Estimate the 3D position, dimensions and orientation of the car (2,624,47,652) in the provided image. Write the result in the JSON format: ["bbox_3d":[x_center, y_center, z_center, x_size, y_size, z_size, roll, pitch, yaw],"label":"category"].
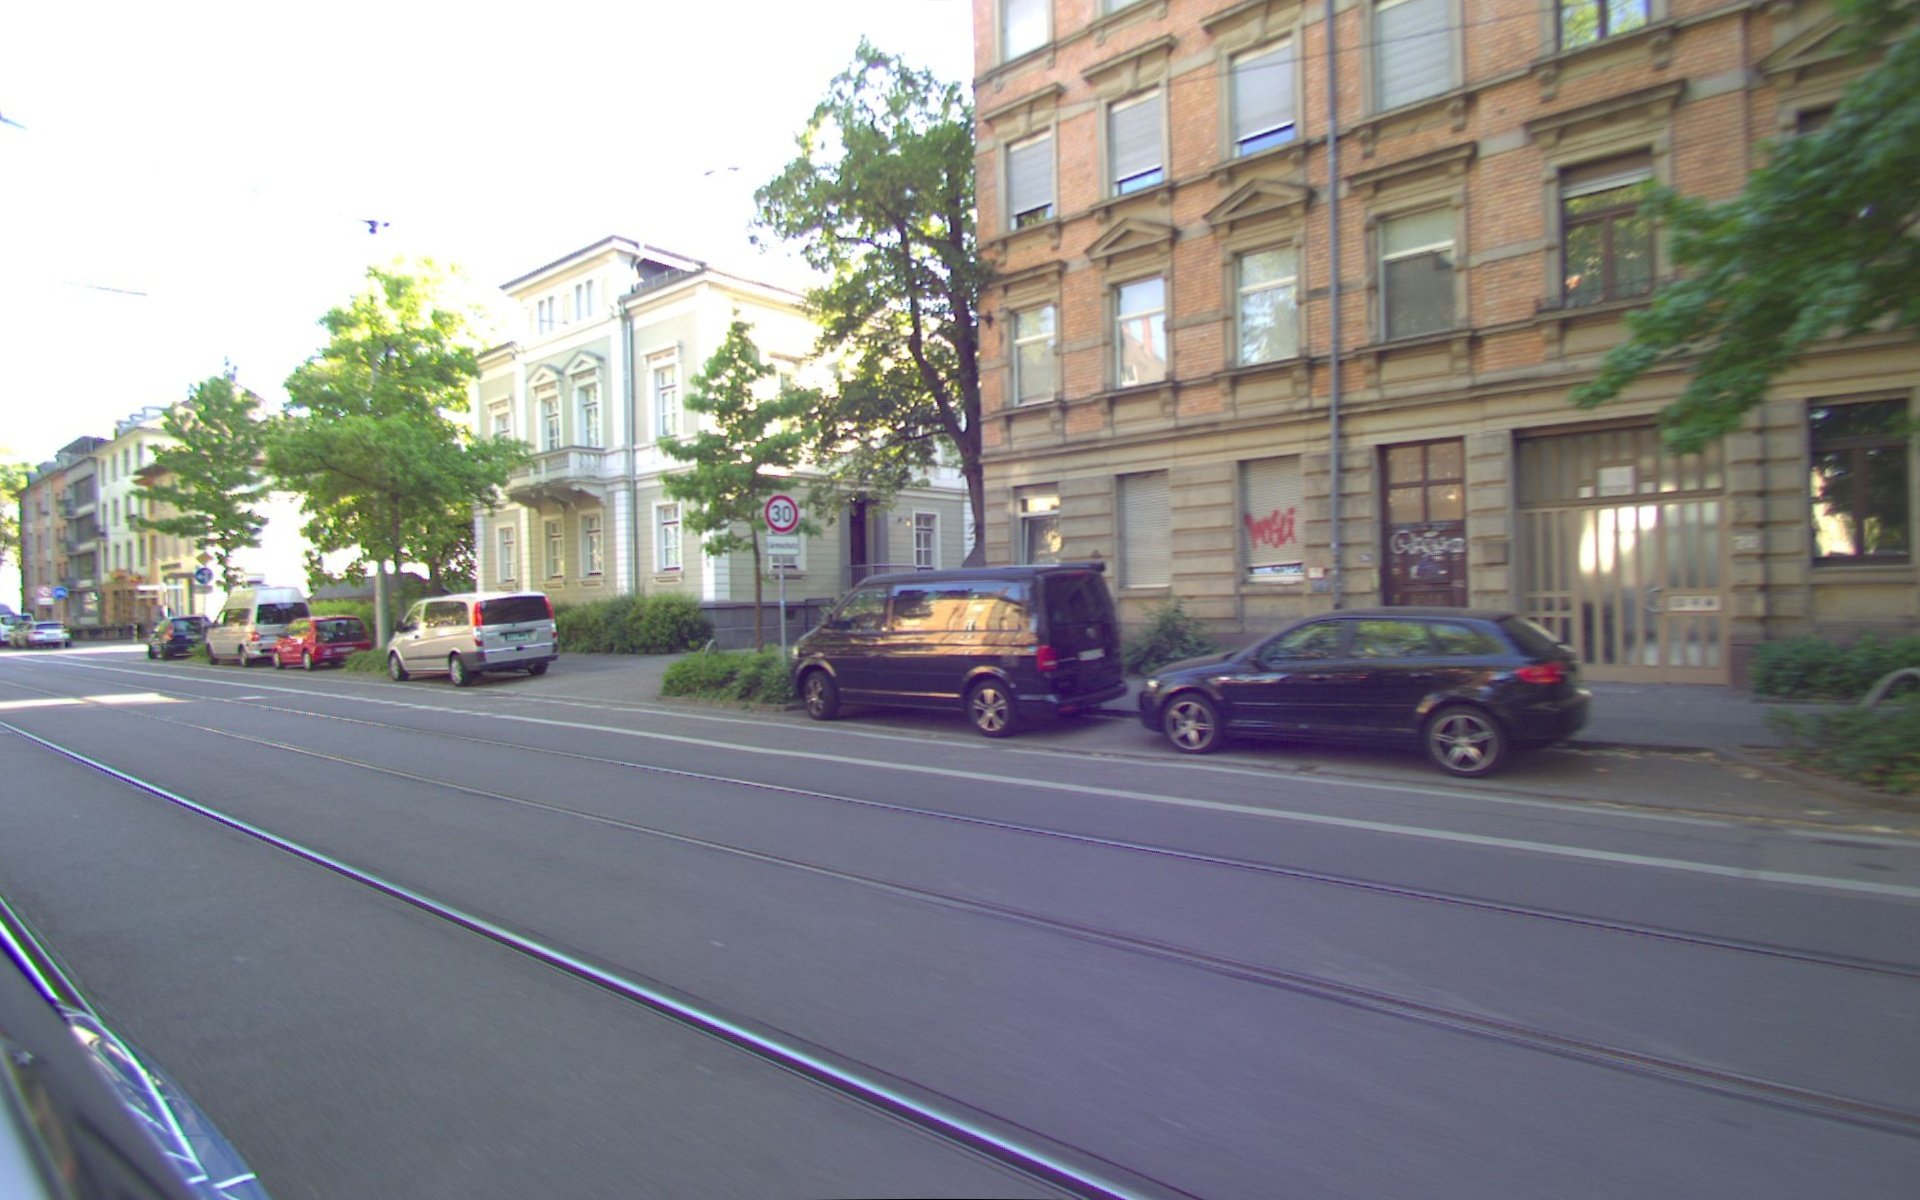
[{"bbox_3d":[-54.098,2.200,58.506,2.881,1.503,1.555,-2,1,40],"label":"car"}]

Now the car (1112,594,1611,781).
[{"bbox_3d":[3.853,0.743,10.102,4.265,1.469,1.835,-2,-1,39],"label":"car"}]

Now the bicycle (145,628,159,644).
[{"bbox_3d":[-49.716,2.197,62.255,1.646,0.935,0.358,-2,-1,40],"label":"bicycle"}]

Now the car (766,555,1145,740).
[{"bbox_3d":[-0.201,0.566,13.385,4.829,2.029,1.974,-2,-1,39],"label":"car"}]

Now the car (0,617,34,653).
[{"bbox_3d":[-58.672,2.145,62.150,4.936,2.061,1.904,-2,1,39],"label":"car"}]

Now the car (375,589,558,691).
[{"bbox_3d":[-11.030,0.847,22.430,4.985,2.004,1.825,-2,0,41],"label":"car"}]

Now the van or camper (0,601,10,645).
[{"bbox_3d":[-68.344,1.710,70.460,5.987,2.999,2.393,-2,3,41],"label":"van or camper"}]

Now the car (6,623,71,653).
[{"bbox_3d":[-50.510,2.094,55.442,4.933,1.503,1.755,-2,1,37],"label":"car"}]

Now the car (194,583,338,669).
[{"bbox_3d":[-22.190,0.804,32.277,5.337,2.527,2.282,-2,0,38],"label":"car"}]

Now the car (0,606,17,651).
[{"bbox_3d":[-63.298,1.927,66.002,4.543,2.766,1.904,-2,4,40],"label":"car"}]

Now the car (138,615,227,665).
[{"bbox_3d":[-29.373,1.487,38.196,4.261,1.703,1.971,-2,0,43],"label":"car"}]

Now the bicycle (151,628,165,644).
[{"bbox_3d":[-48.448,2.165,61.154,1.646,0.935,0.358,-2,-1,40],"label":"bicycle"}]

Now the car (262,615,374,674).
[{"bbox_3d":[-18.492,1.261,29.103,3.704,1.551,1.668,-2,0,40],"label":"car"}]
